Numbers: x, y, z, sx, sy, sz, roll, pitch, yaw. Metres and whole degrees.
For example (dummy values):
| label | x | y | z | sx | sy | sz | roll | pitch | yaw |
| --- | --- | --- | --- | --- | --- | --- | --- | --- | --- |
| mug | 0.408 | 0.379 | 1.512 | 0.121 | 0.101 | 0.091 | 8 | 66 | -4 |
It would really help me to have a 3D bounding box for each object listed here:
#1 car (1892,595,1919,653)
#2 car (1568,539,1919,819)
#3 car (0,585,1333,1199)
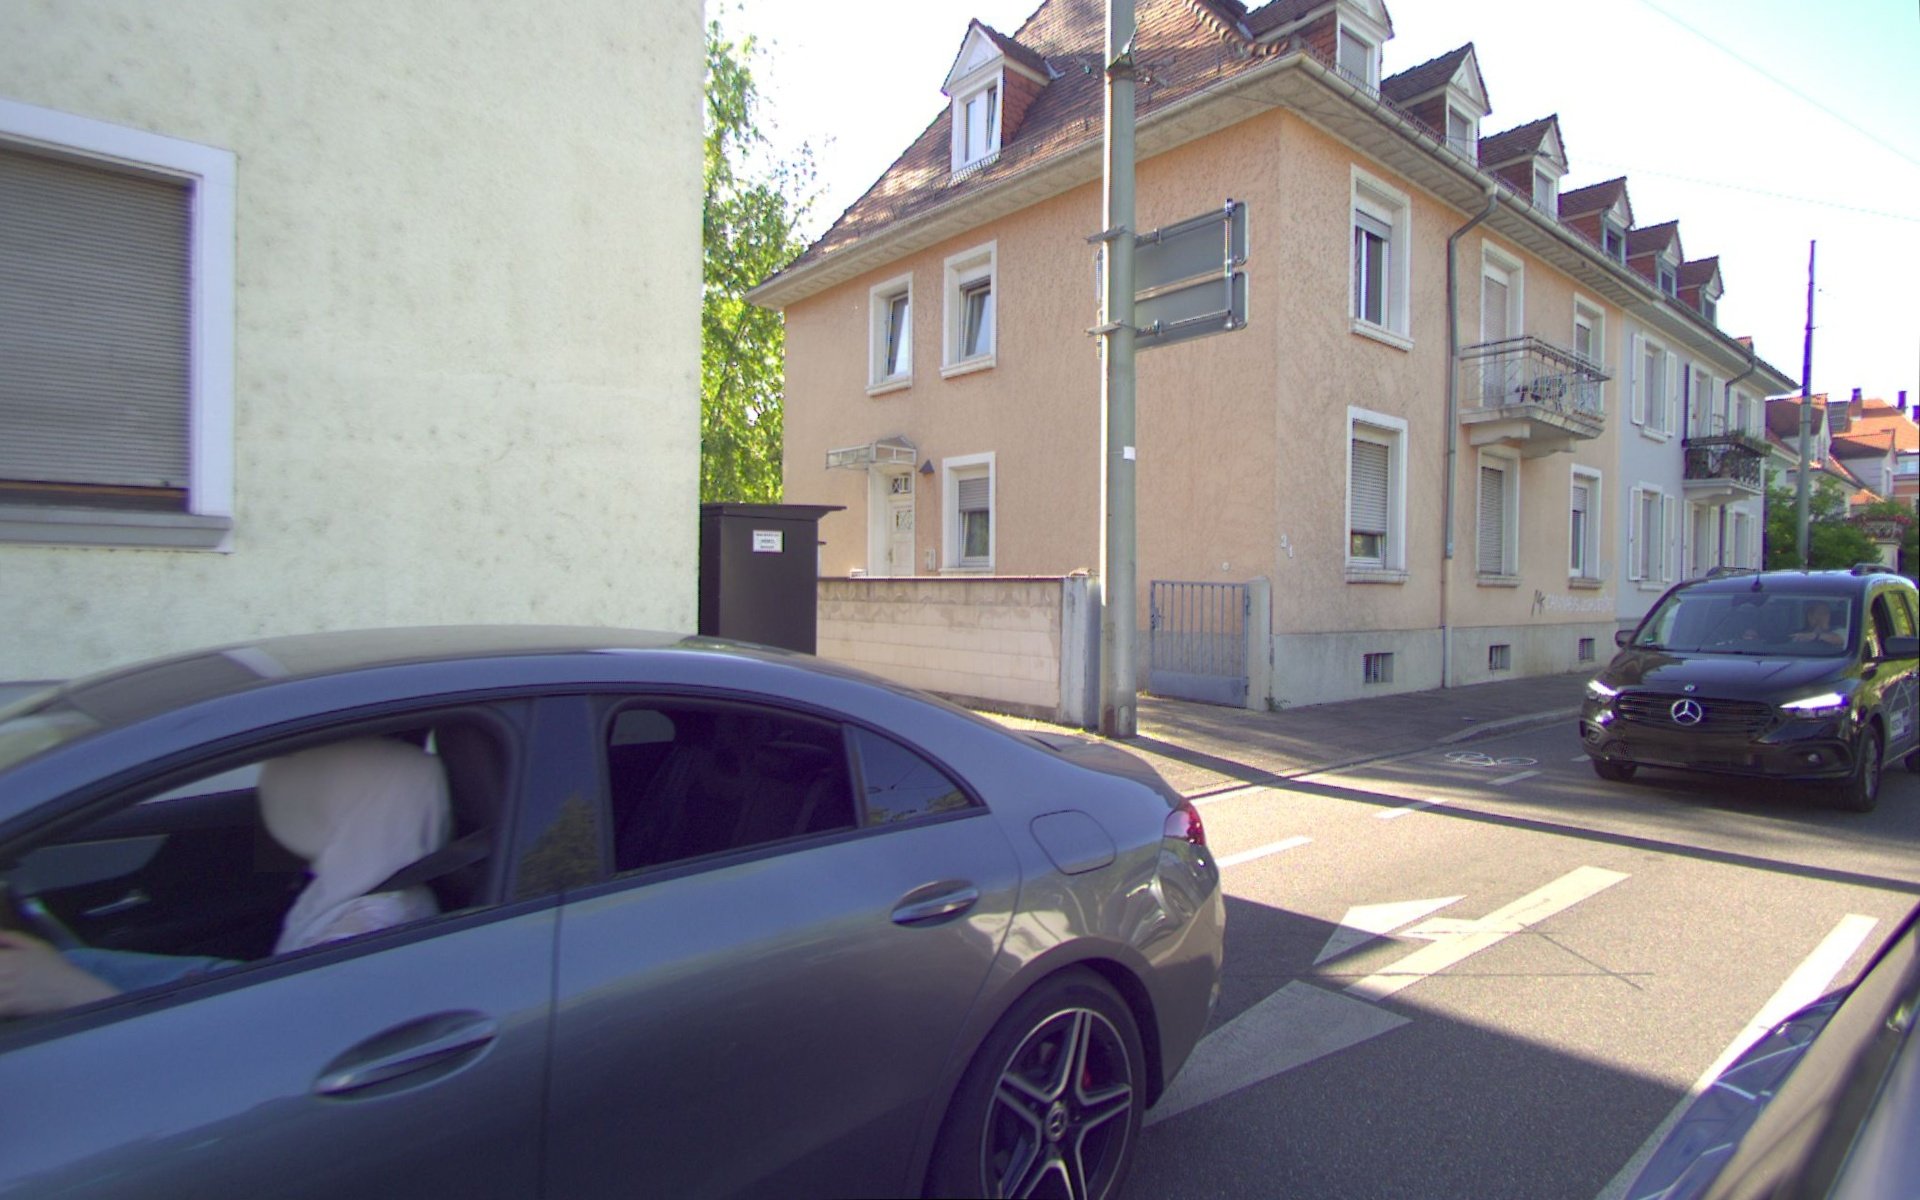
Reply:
| label | x | y | z | sx | sy | sz | roll | pitch | yaw |
| --- | --- | --- | --- | --- | --- | --- | --- | --- | --- |
| car | 26.605 | 0.625 | 27.219 | 3.930 | 1.476 | 1.839 | -1 | 0 | -41 |
| car | 7.195 | 0.487 | 8.843 | 4.695 | 1.827 | 1.864 | -1 | 0 | -41 |
| car | -1.235 | 0.694 | 2.212 | 4.413 | 1.437 | 1.911 | -1 | 0 | -40 |
